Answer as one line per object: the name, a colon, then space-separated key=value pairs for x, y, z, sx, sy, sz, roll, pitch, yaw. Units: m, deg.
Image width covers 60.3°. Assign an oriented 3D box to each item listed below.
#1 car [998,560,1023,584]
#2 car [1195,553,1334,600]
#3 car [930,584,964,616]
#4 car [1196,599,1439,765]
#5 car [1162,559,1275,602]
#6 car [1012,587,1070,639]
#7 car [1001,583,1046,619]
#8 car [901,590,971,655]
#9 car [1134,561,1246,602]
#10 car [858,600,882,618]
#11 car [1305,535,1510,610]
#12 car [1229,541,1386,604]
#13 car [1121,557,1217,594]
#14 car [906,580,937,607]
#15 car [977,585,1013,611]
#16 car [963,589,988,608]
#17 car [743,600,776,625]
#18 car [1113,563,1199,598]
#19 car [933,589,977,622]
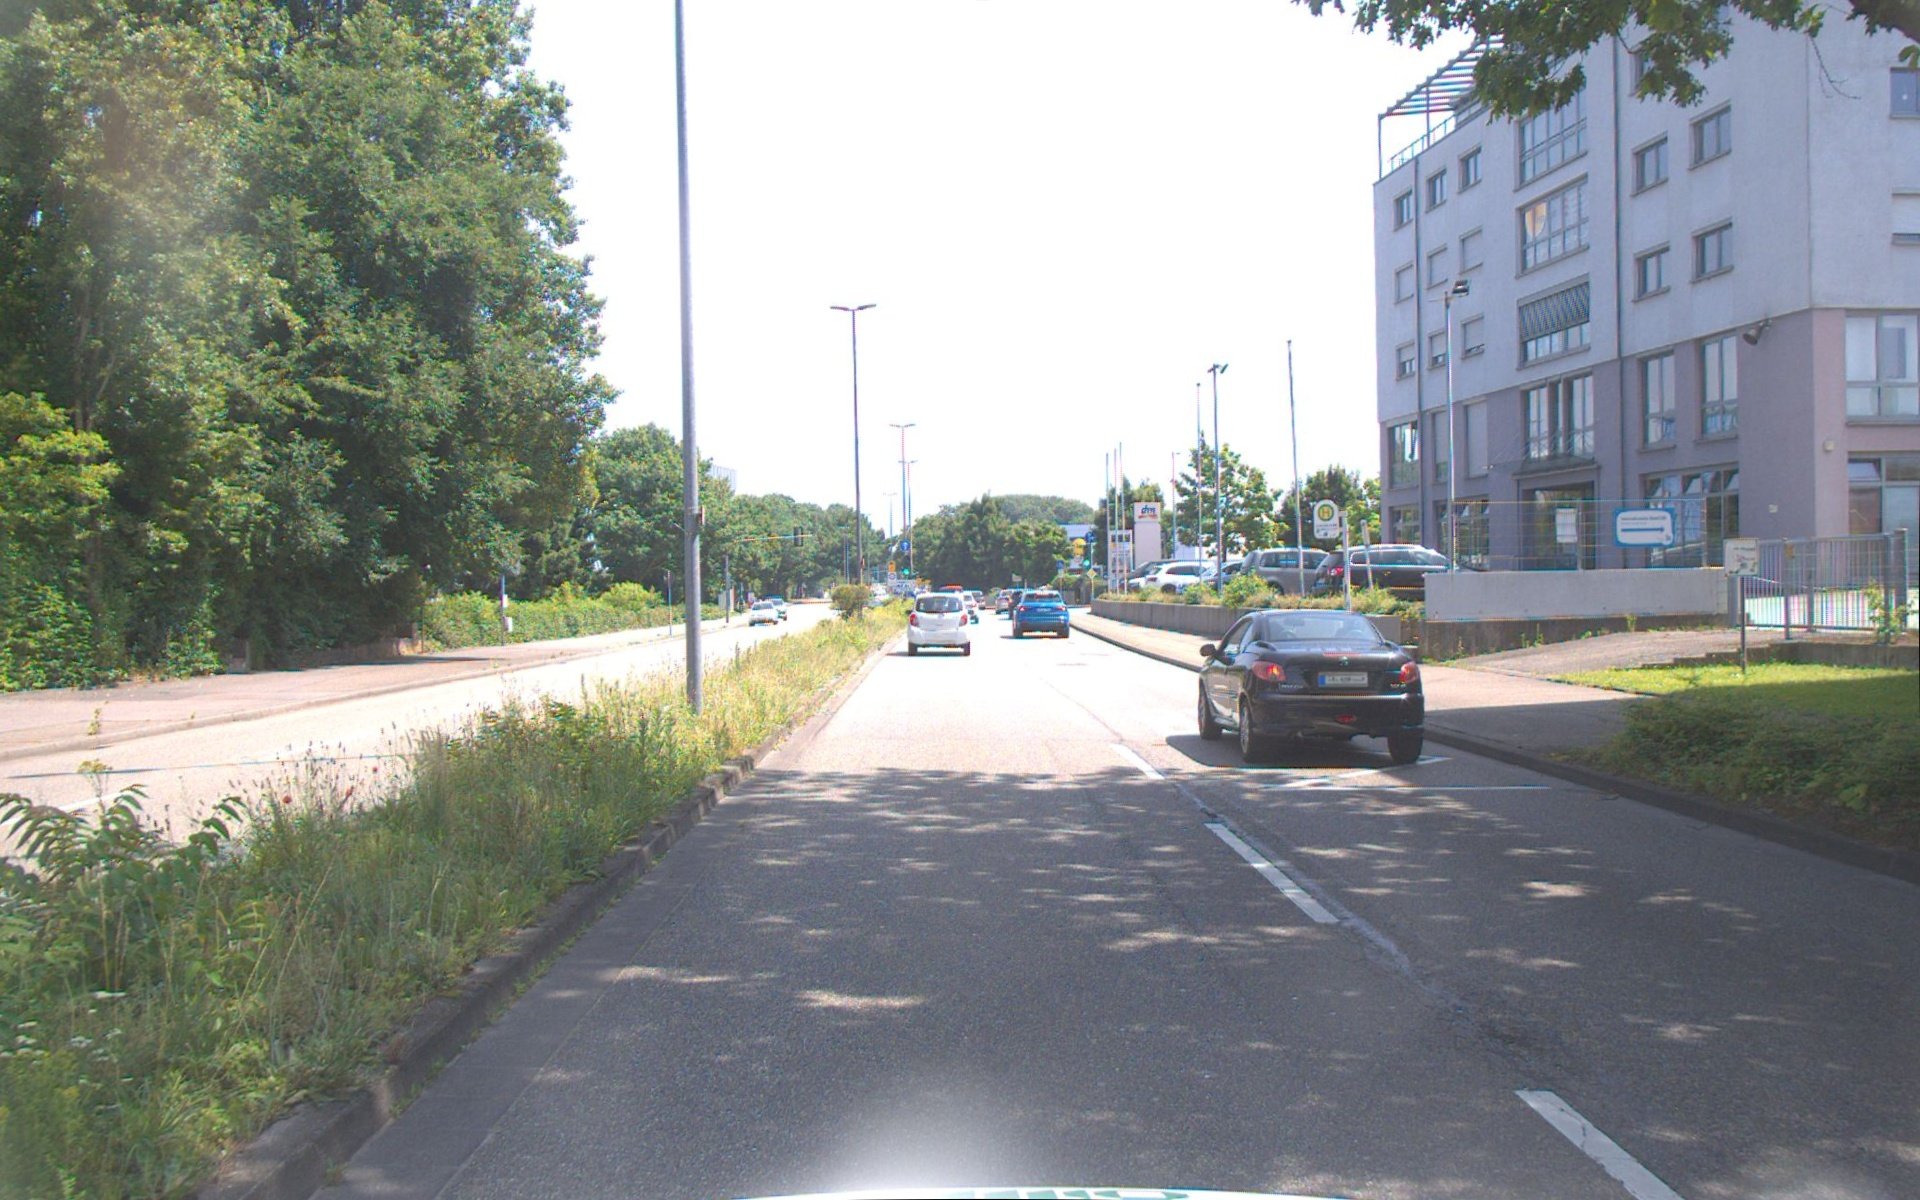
car: x=4.582 y=-2.550 z=150.431 sx=1.735 sy=2.048 sz=3.987 roll=-2 pitch=1 yaw=-4
car: x=10.248 y=-0.774 z=55.835 sx=4.234 sy=1.392 sz=1.999 roll=-2 pitch=0 yaw=-3
car: x=-0.778 y=-0.003 z=99.056 sx=1.741 sy=1.770 sz=3.997 roll=-2 pitch=0 yaw=-4
car: x=3.393 y=0.719 z=16.322 sx=1.594 sy=1.388 sz=3.605 roll=0 pitch=1 yaw=0
car: x=9.838 y=-0.744 z=62.964 sx=3.868 sy=1.477 sz=1.753 roll=-2 pitch=0 yaw=-23
car: x=2.729 y=0.419 z=56.271 sx=1.790 sy=1.607 sz=3.606 roll=-1 pitch=1 yaw=0
car: x=3.164 y=0.023 z=82.509 sx=1.953 sy=1.668 sz=3.999 roll=-2 pitch=0 yaw=-1
car: x=-0.576 y=0.535 z=42.446 sx=1.712 sy=1.546 sz=3.746 roll=0 pitch=1 yaw=0
car: x=9.828 y=-0.779 z=70.753 sx=4.443 sy=1.571 sz=1.999 roll=-2 pitch=0 yaw=-2
car: x=-6.639 y=0.647 z=121.334 sx=1.543 sy=1.291 sz=3.725 roll=-2 pitch=0 yaw=-6
car: x=10.846 y=-0.654 z=40.285 sx=4.408 sy=1.610 sz=1.999 roll=-2 pitch=0 yaw=-2
car: x=10.248 y=-0.804 z=49.007 sx=4.142 sy=1.676 sz=1.999 roll=-2 pitch=0 yaw=-2
car: x=10.012 y=-1.167 z=79.447 sx=4.260 sy=1.571 sz=1.999 roll=-2 pitch=0 yaw=-3
car: x=-2.626 y=-0.434 z=111.110 sx=1.784 sy=1.690 sz=3.996 roll=-2 pitch=1 yaw=-5
car: x=2.072 y=-0.103 z=98.749 sx=1.953 sy=1.445 sz=3.999 roll=-2 pitch=0 yaw=-1
car: x=1.281 y=-0.130 z=138.216 sx=1.953 sy=1.534 sz=3.999 roll=-2 pitch=0 yaw=-2
car: x=-12.453 y=0.753 z=102.861 sx=1.702 sy=1.437 sz=4.368 roll=-2 pitch=0 yaw=-4
car: x=9.713 y=-0.953 z=82.028 sx=3.908 sy=1.571 sz=1.999 roll=-2 pitch=0 yaw=-3
car: x=-0.247 y=0.238 z=78.027 sx=1.953 sy=1.467 sz=3.999 roll=-2 pitch=0 yaw=-2
